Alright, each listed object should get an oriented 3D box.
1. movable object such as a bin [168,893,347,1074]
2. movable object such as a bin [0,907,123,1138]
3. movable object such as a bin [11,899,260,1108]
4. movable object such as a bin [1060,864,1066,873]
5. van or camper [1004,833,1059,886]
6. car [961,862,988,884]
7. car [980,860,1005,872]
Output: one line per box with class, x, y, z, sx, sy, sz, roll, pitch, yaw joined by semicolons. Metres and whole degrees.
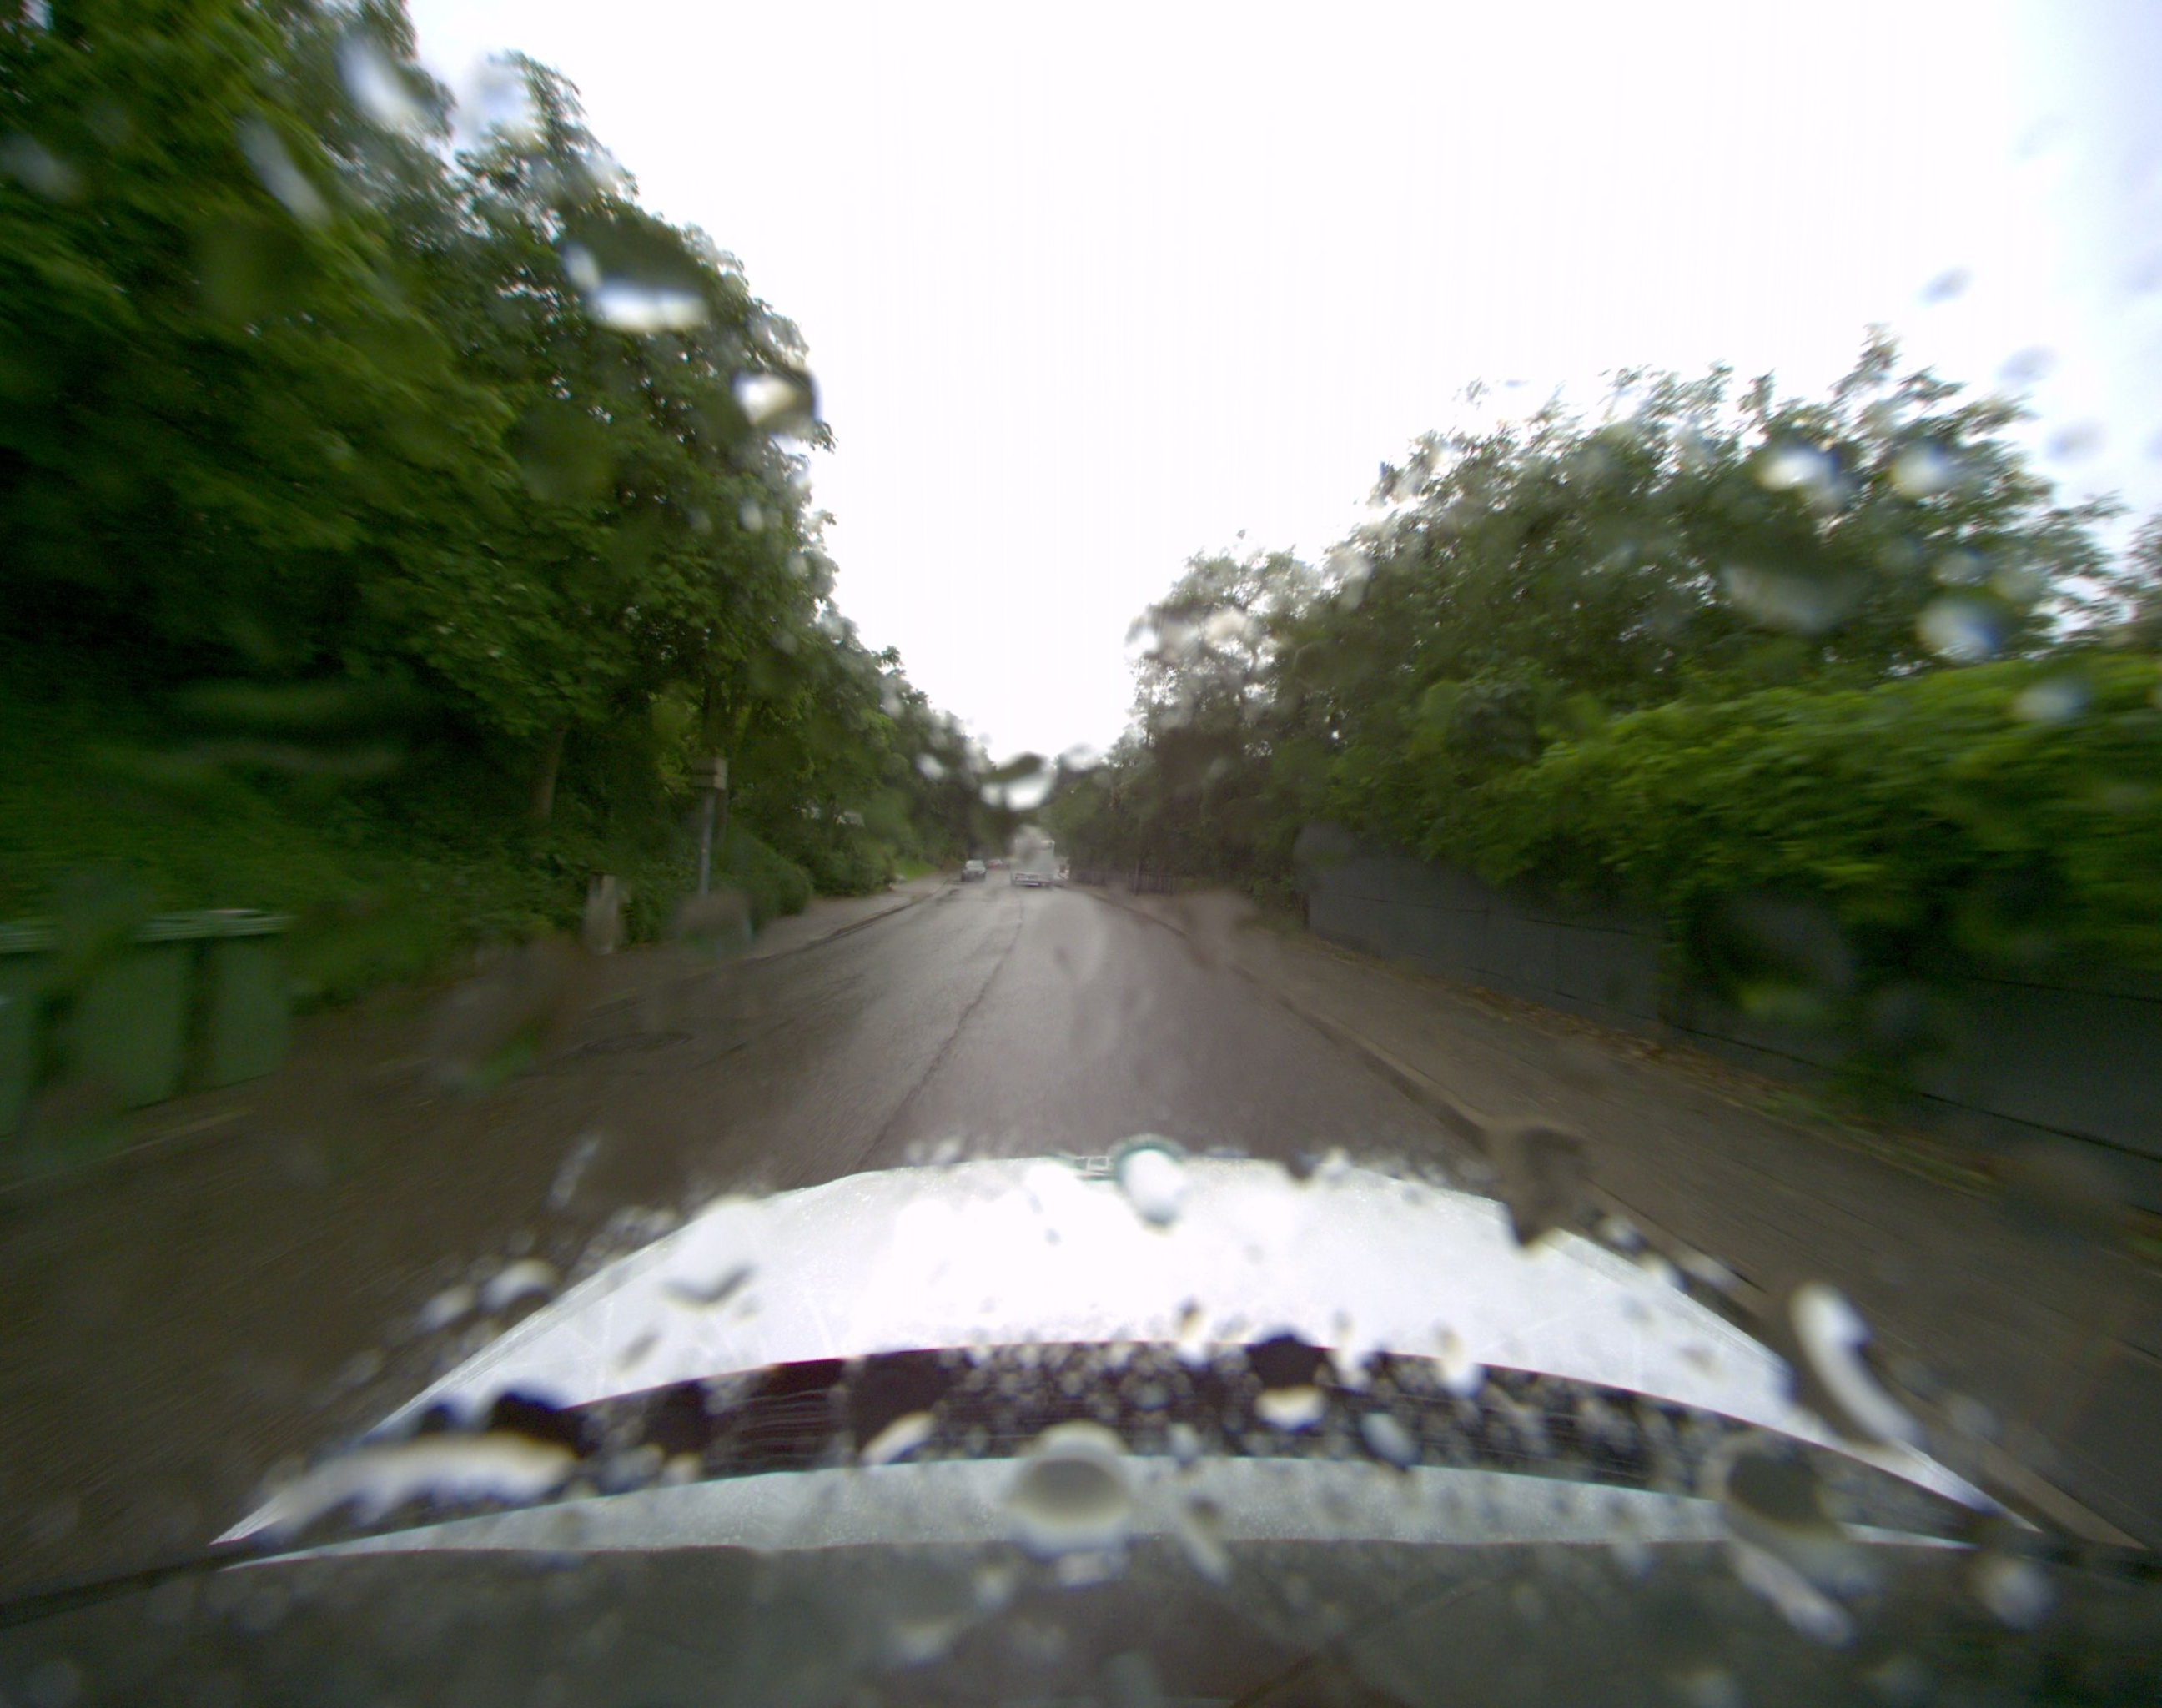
movable object such as a bin;-5.402;0.828;5.371;0.646;1.115;0.505;0;-1;1
movable object such as a bin;-5.516;0.825;4.064;0.646;1.081;0.673;0;-1;1
movable object such as a bin;-5.473;0.829;4.759;0.646;1.104;0.673;0;-1;1
movable object such as a bin;-2.398;1.970;108.161;0.774;1.133;0.738;3;-1;3
van or camper;-3.009;0.367;48.192;2.541;2.925;5.925;-1;-1;-10
car;-7.144;1.247;54.892;1.648;1.385;3.521;1;-1;-6
car;-12.392;1.701;114.024;1.980;1.562;4.668;3;0;12
